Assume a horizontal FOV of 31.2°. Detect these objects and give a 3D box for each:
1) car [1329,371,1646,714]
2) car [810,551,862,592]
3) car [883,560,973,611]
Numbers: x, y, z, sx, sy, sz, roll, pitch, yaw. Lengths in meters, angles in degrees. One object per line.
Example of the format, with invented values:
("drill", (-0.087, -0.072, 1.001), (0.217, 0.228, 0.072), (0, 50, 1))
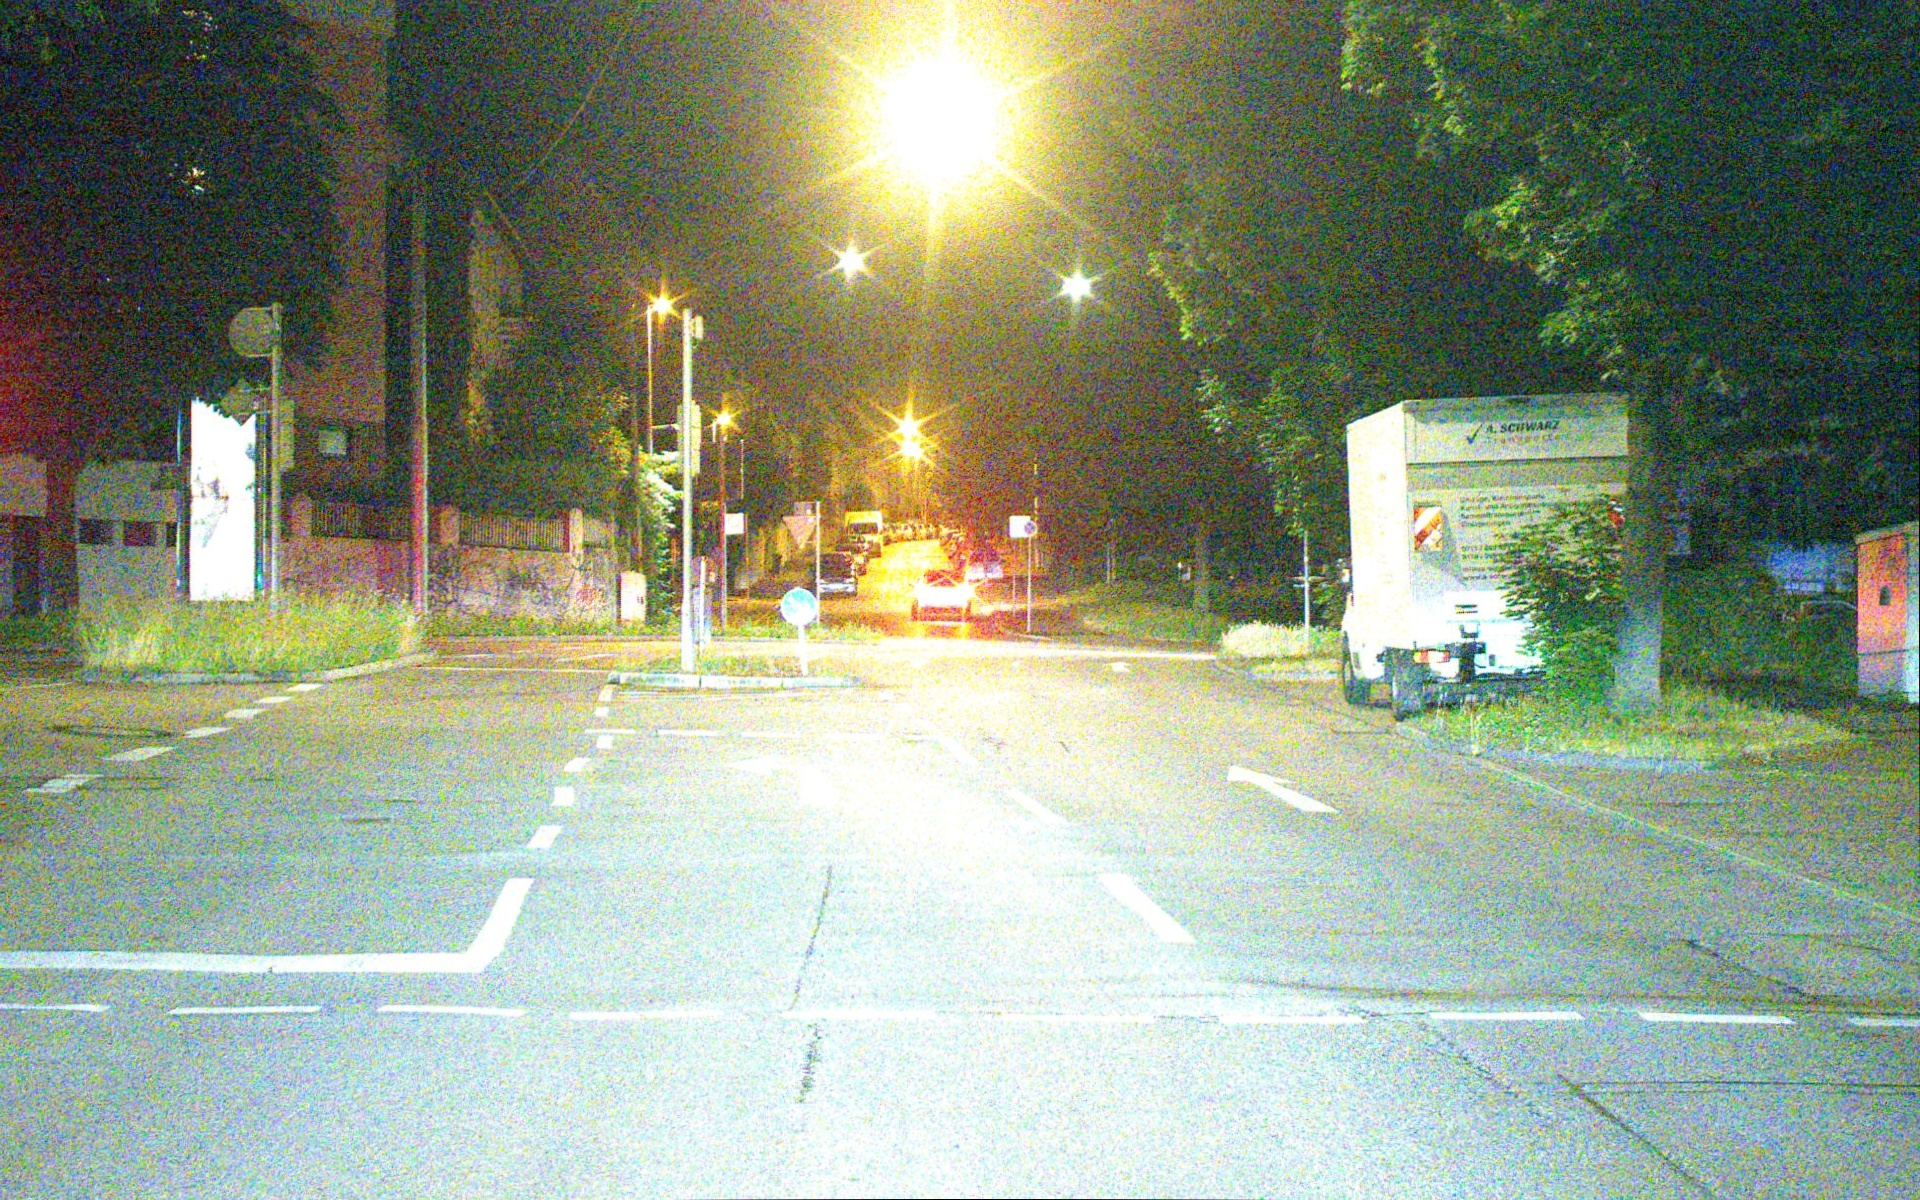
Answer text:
("car", (5.124, -0.552, 34.266), (2.297, 3.082, 5.840), (-1, 1, 1))
("car", (-4.844, -1.100, 134.324), (1.908, 1.552, 3.904), (1, 0, -1))
("car", (-0.977, -0.452, 102.345), (1.775, 1.481, 4.001), (1, 0, -14))
